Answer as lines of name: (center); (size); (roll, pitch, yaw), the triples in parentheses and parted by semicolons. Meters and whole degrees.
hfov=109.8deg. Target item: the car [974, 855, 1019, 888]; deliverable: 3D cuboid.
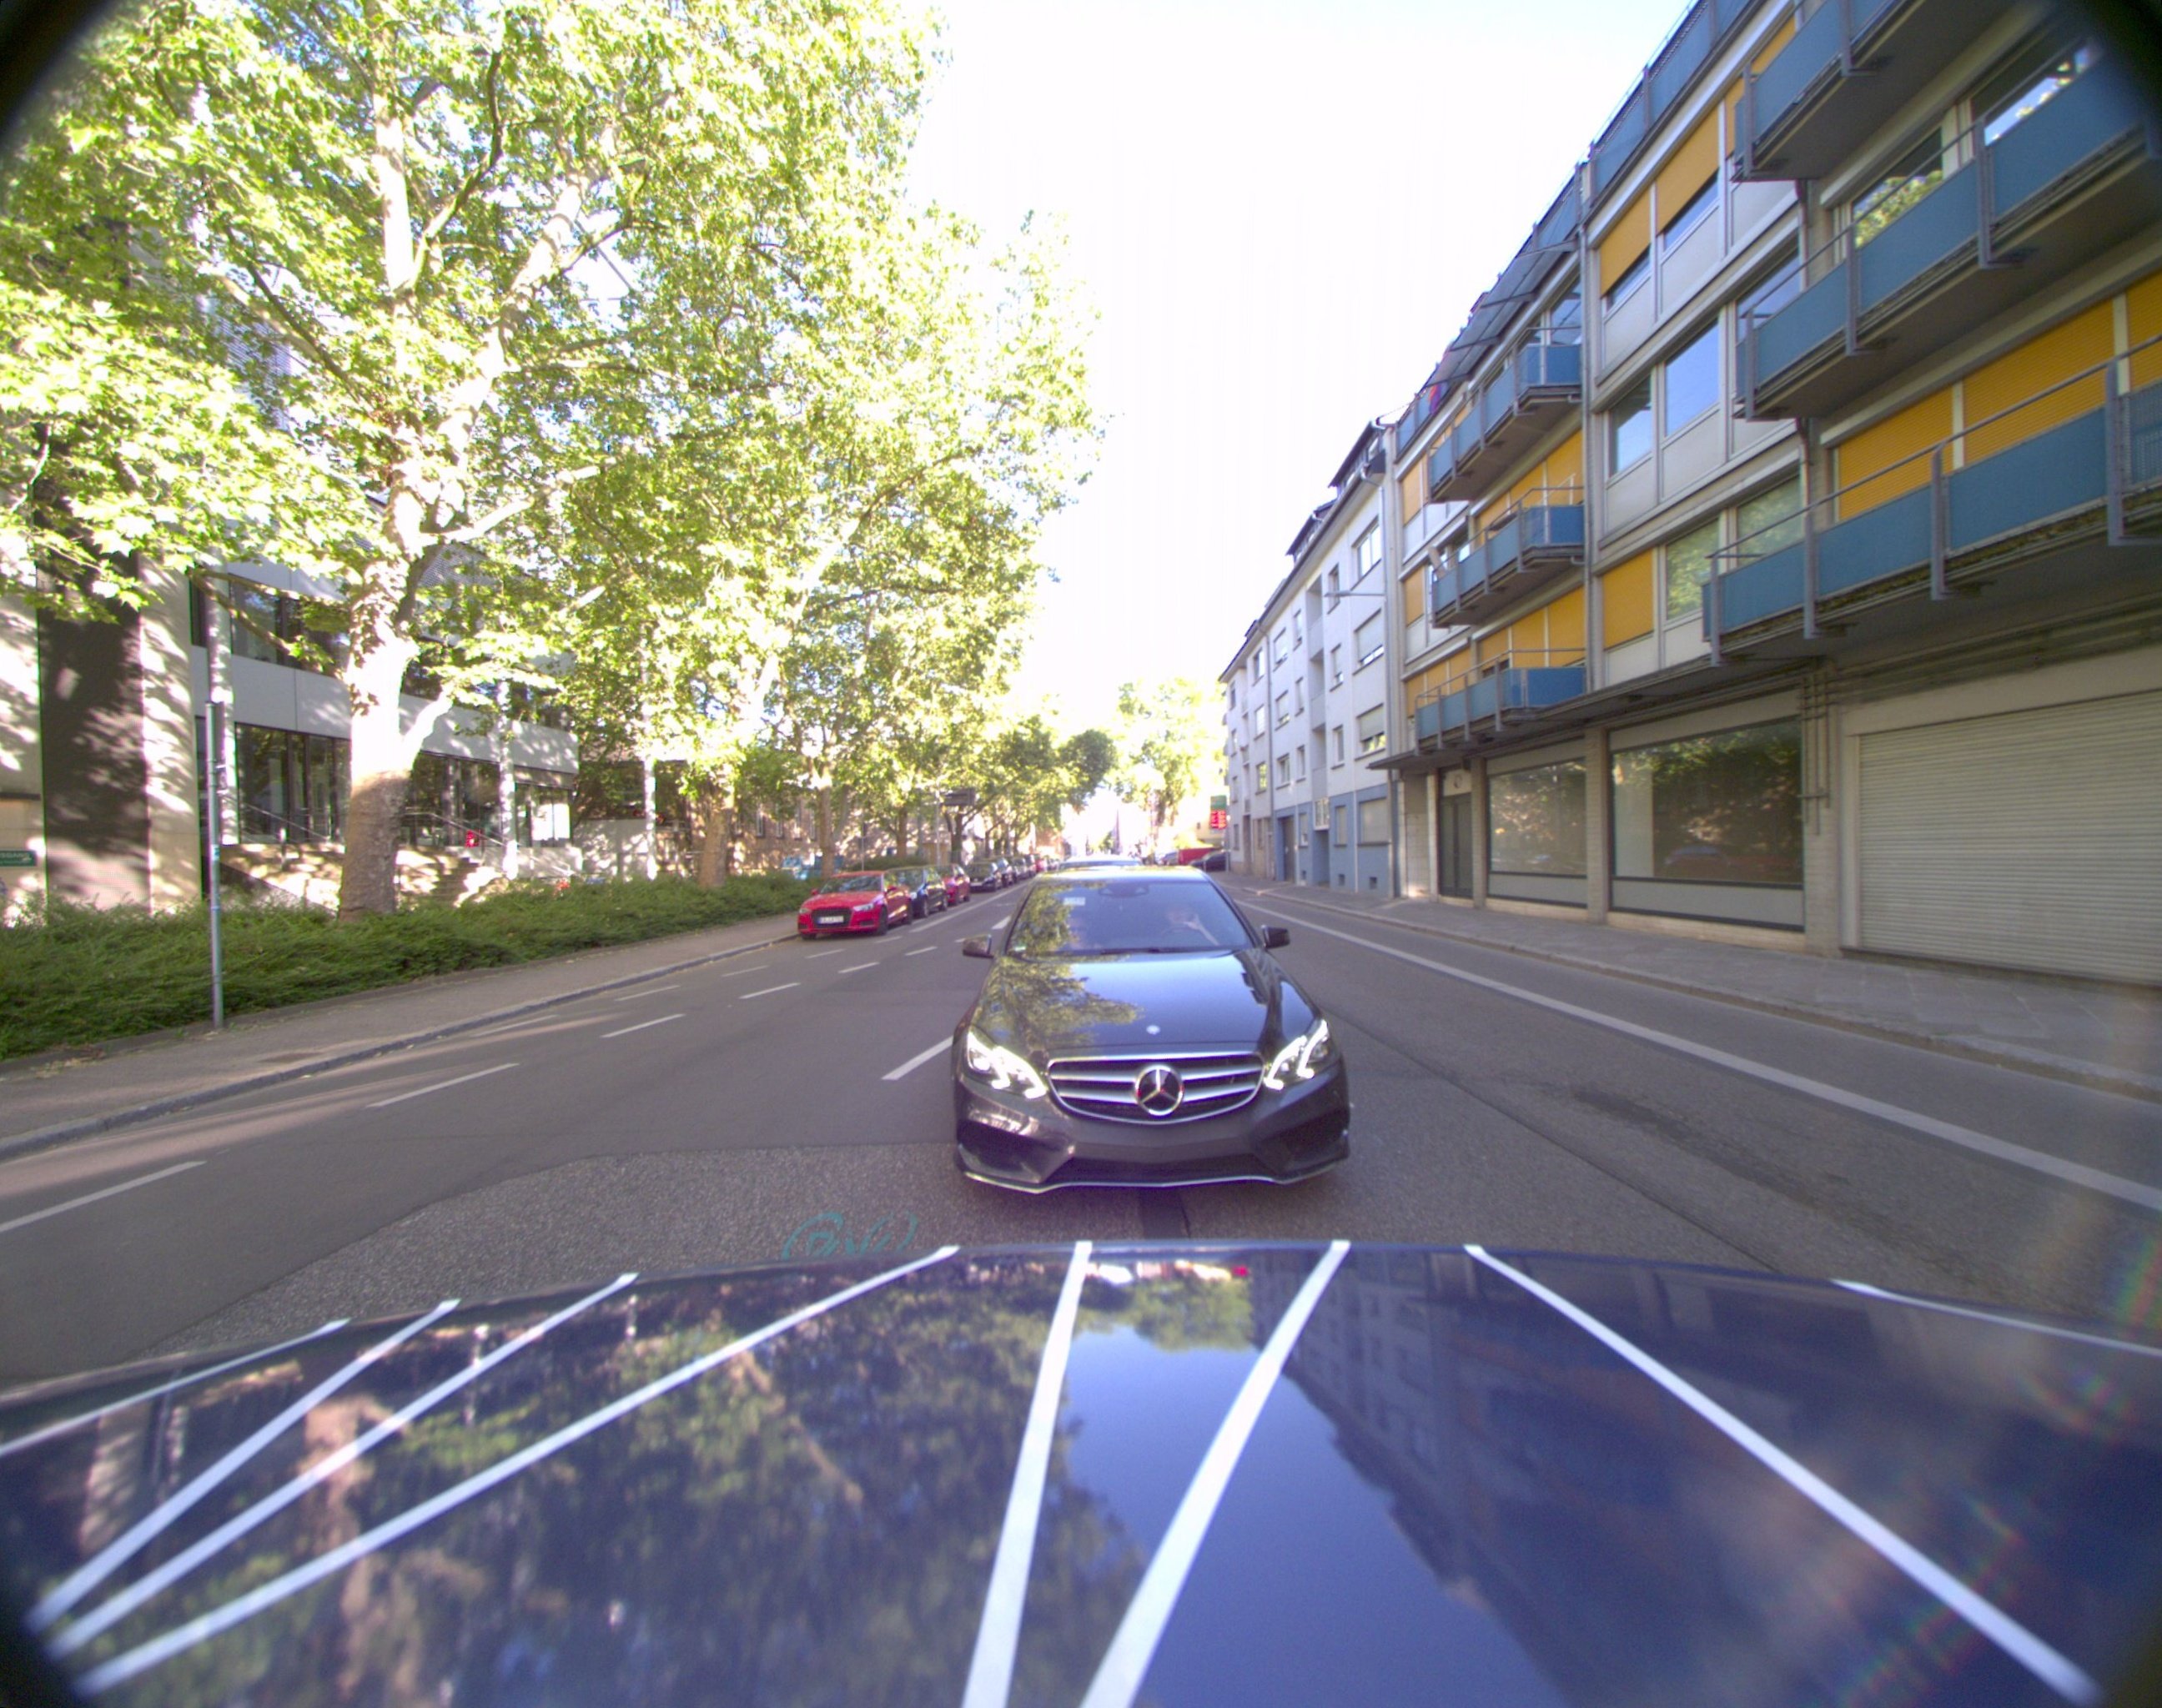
car: (-4.621, 0.909, 42.187); (1.866, 1.658, 4.481); (-2, 0, 1)

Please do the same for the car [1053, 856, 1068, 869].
car: (-2.821, 1.112, 105.171); (1.866, 1.632, 4.481); (-2, 0, 1)

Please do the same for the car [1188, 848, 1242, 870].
car: (10.716, 0.384, 61.173); (3.996, 1.543, 2.000); (-2, 1, 2)

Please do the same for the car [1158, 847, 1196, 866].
car: (10.737, 0.248, 84.960); (3.996, 1.936, 2.000); (-2, 1, 2)

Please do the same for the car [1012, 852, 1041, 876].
car: (-4.245, 0.757, 59.736); (1.866, 1.749, 4.481); (-2, 0, 1)

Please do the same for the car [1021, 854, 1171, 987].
car: (0.223, 0.862, 11.911); (1.866, 1.630, 4.303); (-2, 0, 1)

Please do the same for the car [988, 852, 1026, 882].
car: (-4.633, 0.785, 48.114); (1.866, 1.749, 4.481); (-2, 0, 1)

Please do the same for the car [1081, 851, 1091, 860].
car: (1.015, 0.330, 155.935); (1.866, 1.632, 4.481); (-2, 0, 1)

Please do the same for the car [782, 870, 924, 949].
car: (-5.105, 1.180, 17.711); (1.866, 1.442, 4.481); (-2, 0, 1)

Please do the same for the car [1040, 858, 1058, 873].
car: (-3.764, 1.322, 89.965); (1.866, 1.632, 4.481); (-2, 0, 1)

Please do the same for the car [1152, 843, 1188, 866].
car: (10.491, 0.010, 89.487); (3.996, 2.505, 2.000); (-2, 1, 2)

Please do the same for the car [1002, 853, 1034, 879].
car: (-4.503, 0.820, 54.781); (1.866, 1.749, 4.481); (-2, 0, 1)

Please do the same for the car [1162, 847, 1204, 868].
car: (10.333, 0.351, 77.127); (3.996, 1.936, 2.000); (-2, 1, 2)

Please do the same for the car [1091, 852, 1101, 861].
car: (2.744, 0.503, 140.598); (1.866, 1.632, 4.481); (-2, 0, 1)

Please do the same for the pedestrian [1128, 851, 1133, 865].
pedestrian: (7.492, 0.584, 115.122); (0.735, 2.002, 0.797); (-2, 1, 1)

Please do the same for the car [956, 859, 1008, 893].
car: (-4.757, 1.026, 37.153); (1.866, 1.442, 4.481); (-2, 0, 1)

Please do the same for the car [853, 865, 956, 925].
car: (-5.045, 1.126, 22.362); (1.866, 1.442, 4.481); (-2, 0, 1)

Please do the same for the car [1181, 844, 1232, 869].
car: (10.549, 0.161, 64.004); (3.996, 1.936, 2.000); (-2, 1, 2)

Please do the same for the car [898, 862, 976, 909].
car: (-5.089, 1.067, 27.406); (1.866, 1.442, 4.481); (-2, 0, 1)

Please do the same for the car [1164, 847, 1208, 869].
car: (10.249, 0.384, 74.485); (3.996, 1.936, 2.000); (-2, 1, 2)

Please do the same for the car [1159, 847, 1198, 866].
car: (10.591, 0.281, 82.466); (3.996, 1.936, 2.000); (-2, 1, 2)

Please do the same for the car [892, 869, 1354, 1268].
car: (0.203, 0.937, 5.388); (1.866, 1.492, 4.481); (-2, 0, 1)

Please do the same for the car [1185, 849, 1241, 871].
car: (10.175, 0.430, 58.851); (3.996, 1.543, 2.000); (-2, 1, 2)

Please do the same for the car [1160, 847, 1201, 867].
car: (10.461, 0.314, 79.977); (3.996, 1.936, 2.000); (-2, 1, 2)

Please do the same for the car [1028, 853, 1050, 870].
car: (-4.198, 0.705, 76.259); (1.866, 1.632, 4.481); (-2, 0, 1)

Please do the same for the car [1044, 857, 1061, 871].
car: (-3.654, 1.237, 96.764); (1.866, 1.632, 4.481); (-2, 0, 1)
